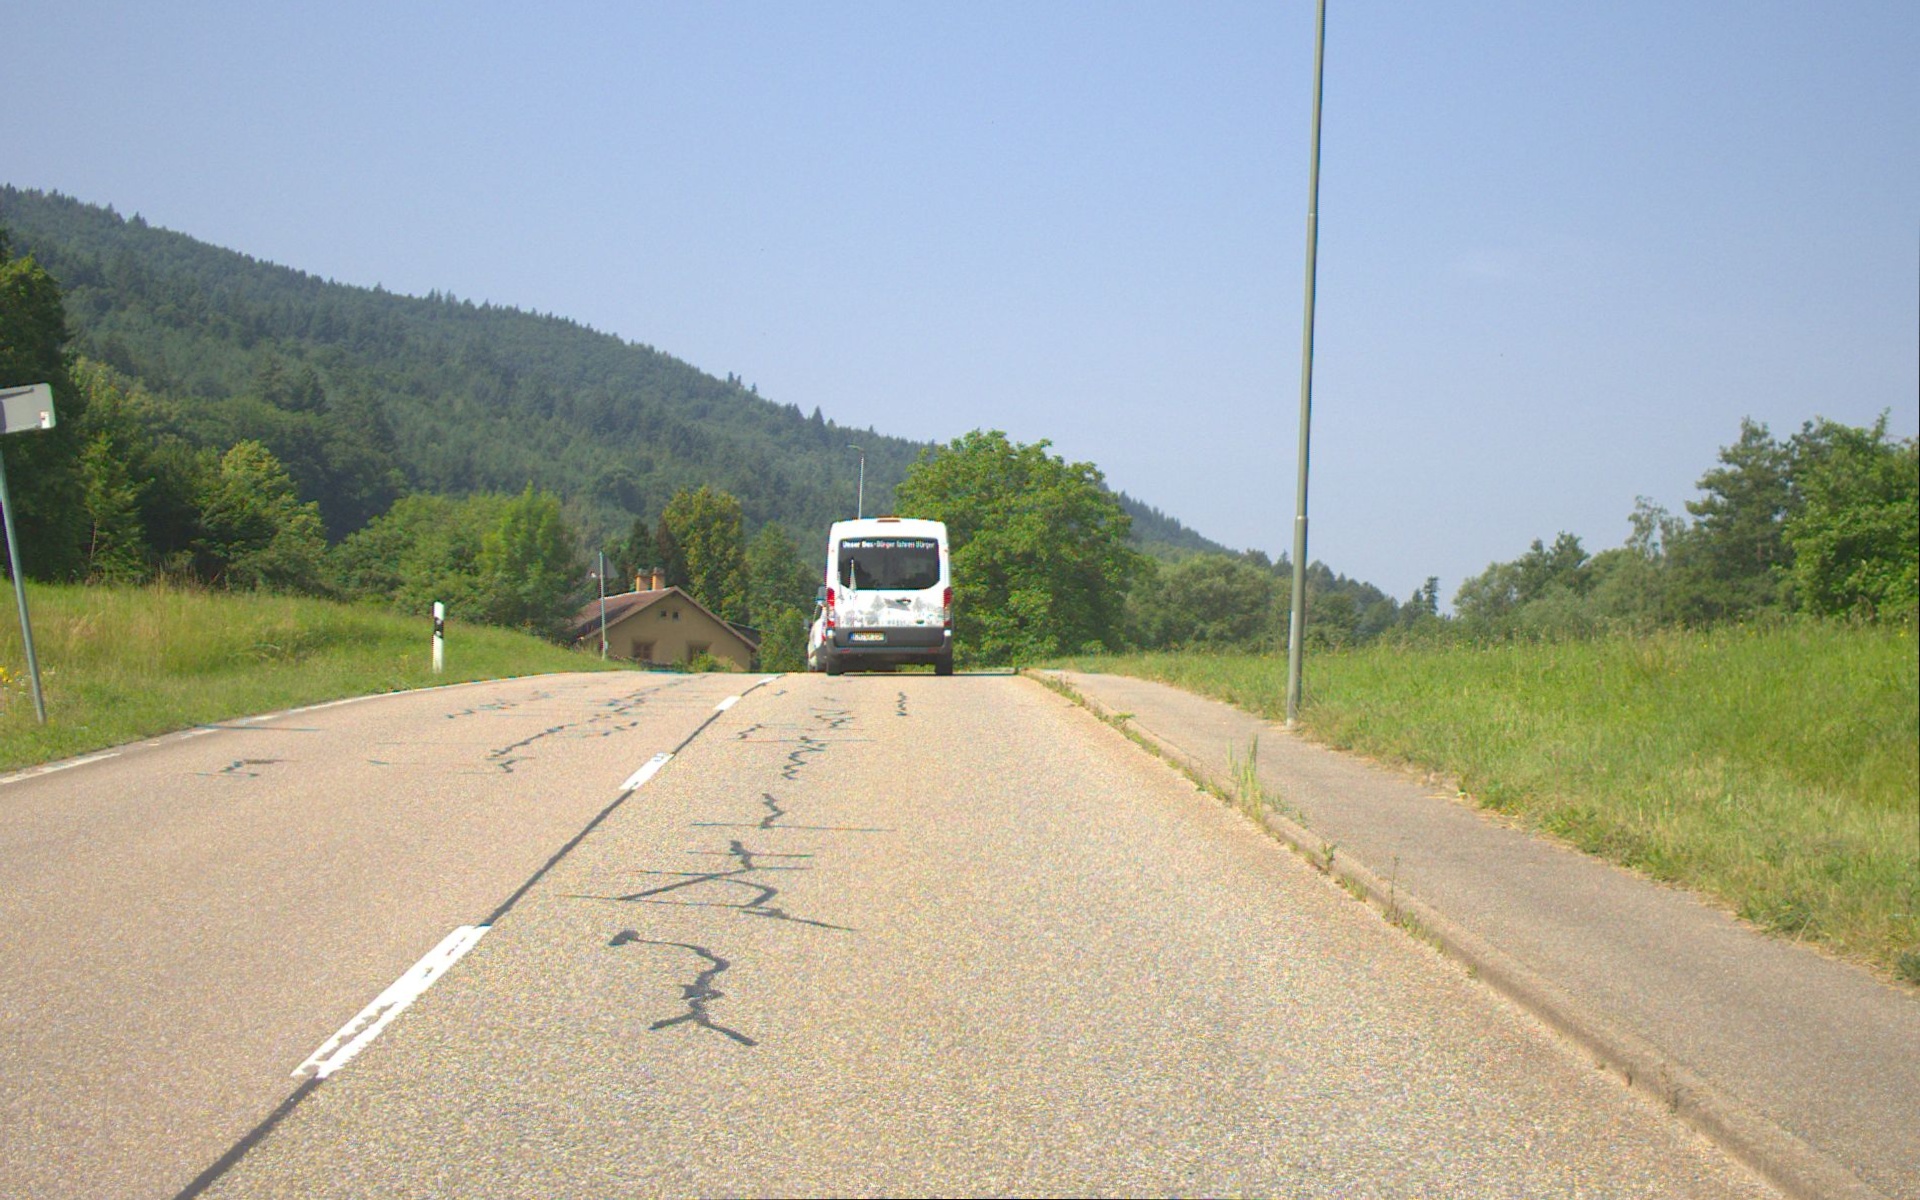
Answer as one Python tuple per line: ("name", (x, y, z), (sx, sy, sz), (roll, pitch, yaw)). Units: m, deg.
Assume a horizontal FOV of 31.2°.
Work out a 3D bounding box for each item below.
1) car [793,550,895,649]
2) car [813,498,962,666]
("car", (-2.928, 0.026, 85.709), (2.222, 2.279, 4.985), (-2, -1, -5))
("car", (-1.178, -0.233, 55.652), (2.222, 2.517, 4.984), (-2, -1, -1))
